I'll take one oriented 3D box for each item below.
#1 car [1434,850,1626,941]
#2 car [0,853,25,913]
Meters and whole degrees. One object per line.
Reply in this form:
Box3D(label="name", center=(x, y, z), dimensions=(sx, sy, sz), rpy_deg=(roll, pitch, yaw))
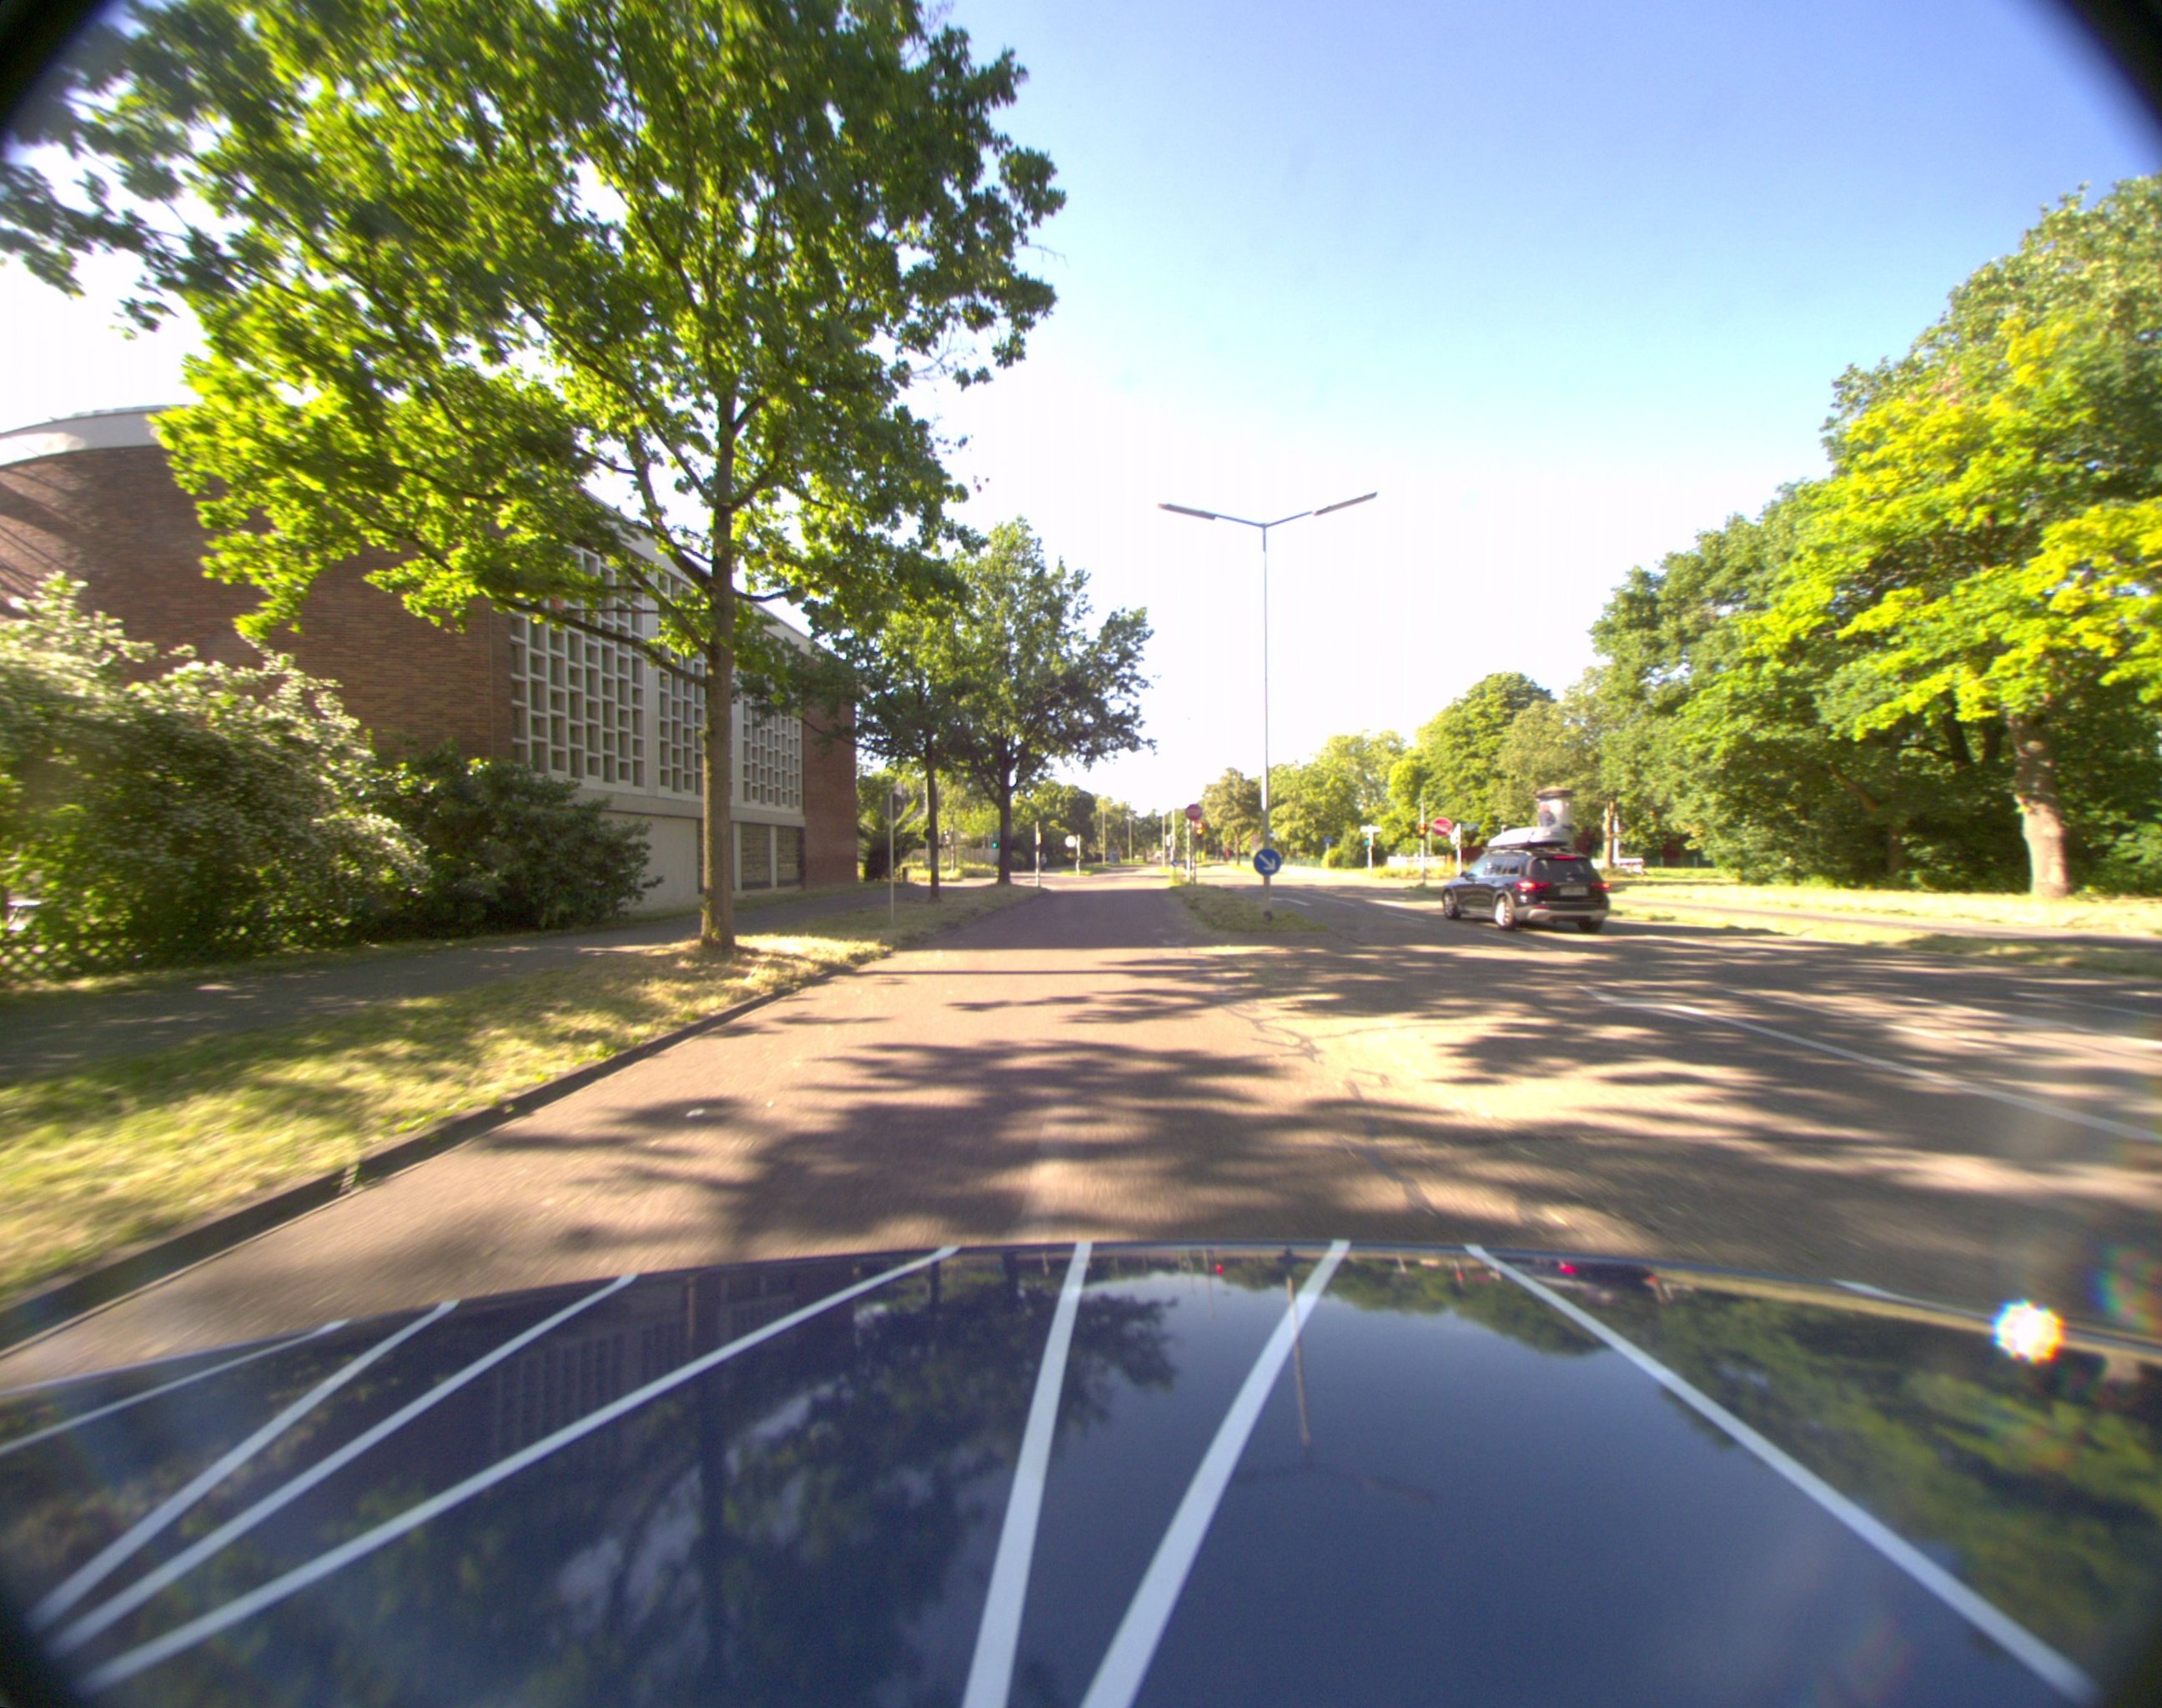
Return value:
Box3D(label="car", center=(9.542, 0.771, 16.636), dimensions=(1.843, 1.698, 4.506), rpy_deg=(0, 0, 5))
Box3D(label="car", center=(-37.363, 1.023, 23.317), dimensions=(2.300, 2.002, 5.266), rpy_deg=(0, 1, 8))
